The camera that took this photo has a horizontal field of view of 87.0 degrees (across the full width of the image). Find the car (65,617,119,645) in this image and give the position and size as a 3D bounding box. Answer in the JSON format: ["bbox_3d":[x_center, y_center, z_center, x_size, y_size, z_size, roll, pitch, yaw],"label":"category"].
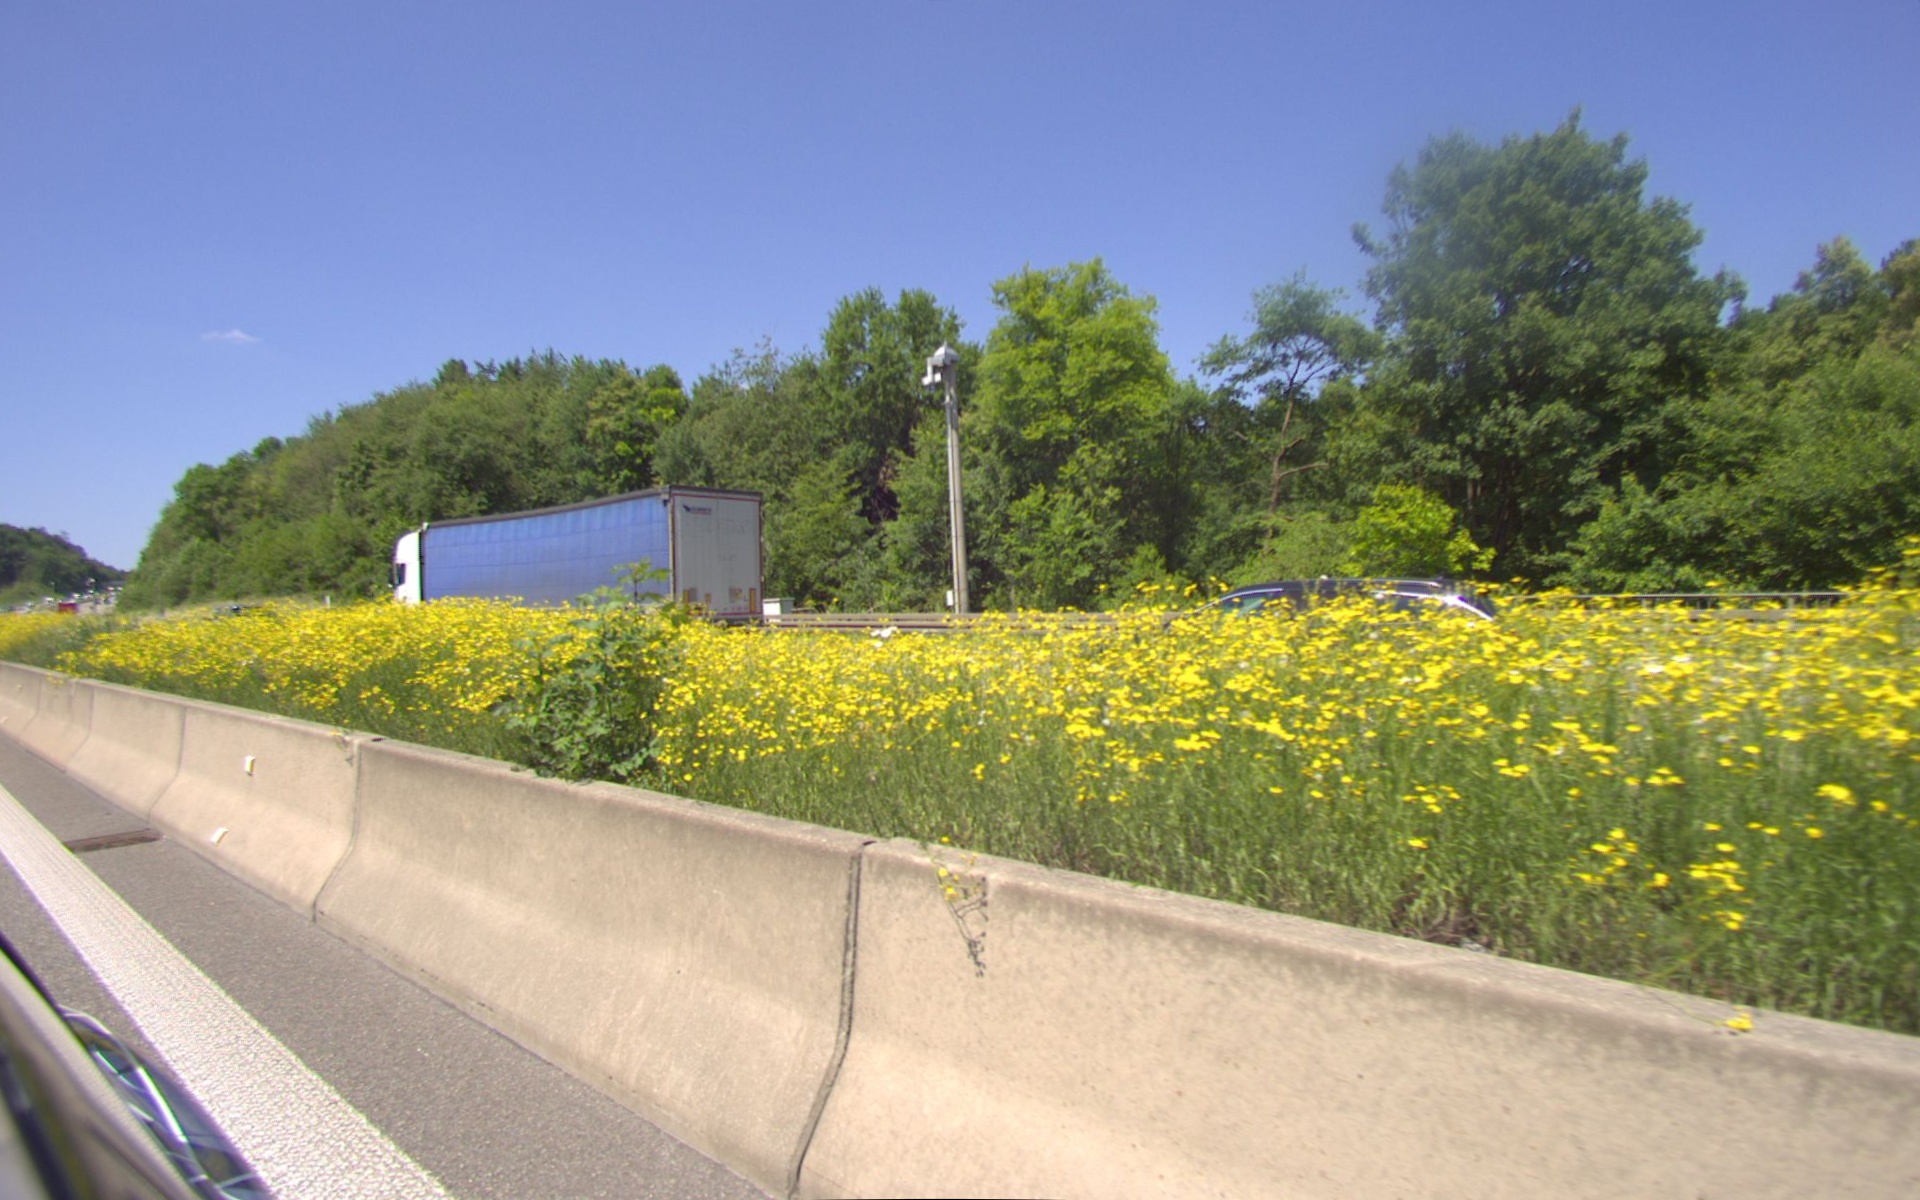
[{"bbox_3d":[-50.276,1.779,58.582,3.997,1.500,1.786,-1,0,41],"label":"car"}]

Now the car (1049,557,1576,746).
[{"bbox_3d":[3.507,0.446,10.651,4.797,1.541,2.115,-1,0,41],"label":"car"}]

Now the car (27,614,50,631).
[{"bbox_3d":[-141.053,3.423,154.880,5.975,2.643,2.133,-1,0,42],"label":"car"}]

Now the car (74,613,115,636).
[{"bbox_3d":[-70.213,1.996,82.096,4.319,1.778,1.862,-1,0,41],"label":"car"}]

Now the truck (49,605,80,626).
[{"bbox_3d":[-163.561,2.801,184.764,3.875,3.746,16.757,-1,0,-43],"label":"truck"}]

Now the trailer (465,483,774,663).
[{"bbox_3d":[-9.168,-0.520,26.213,10.163,3.886,2.752,-1,0,41],"label":"trailer"}]

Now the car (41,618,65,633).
[{"bbox_3d":[-108.202,3.011,120.666,4.118,1.641,1.757,-1,0,43],"label":"car"}]

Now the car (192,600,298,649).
[{"bbox_3d":[-25.329,0.843,35.803,4.636,1.573,1.973,-1,0,41],"label":"car"}]

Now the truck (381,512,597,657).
[{"bbox_3d":[-14.564,-0.368,30.891,8.408,3.886,2.720,-1,0,41],"label":"truck"}]
